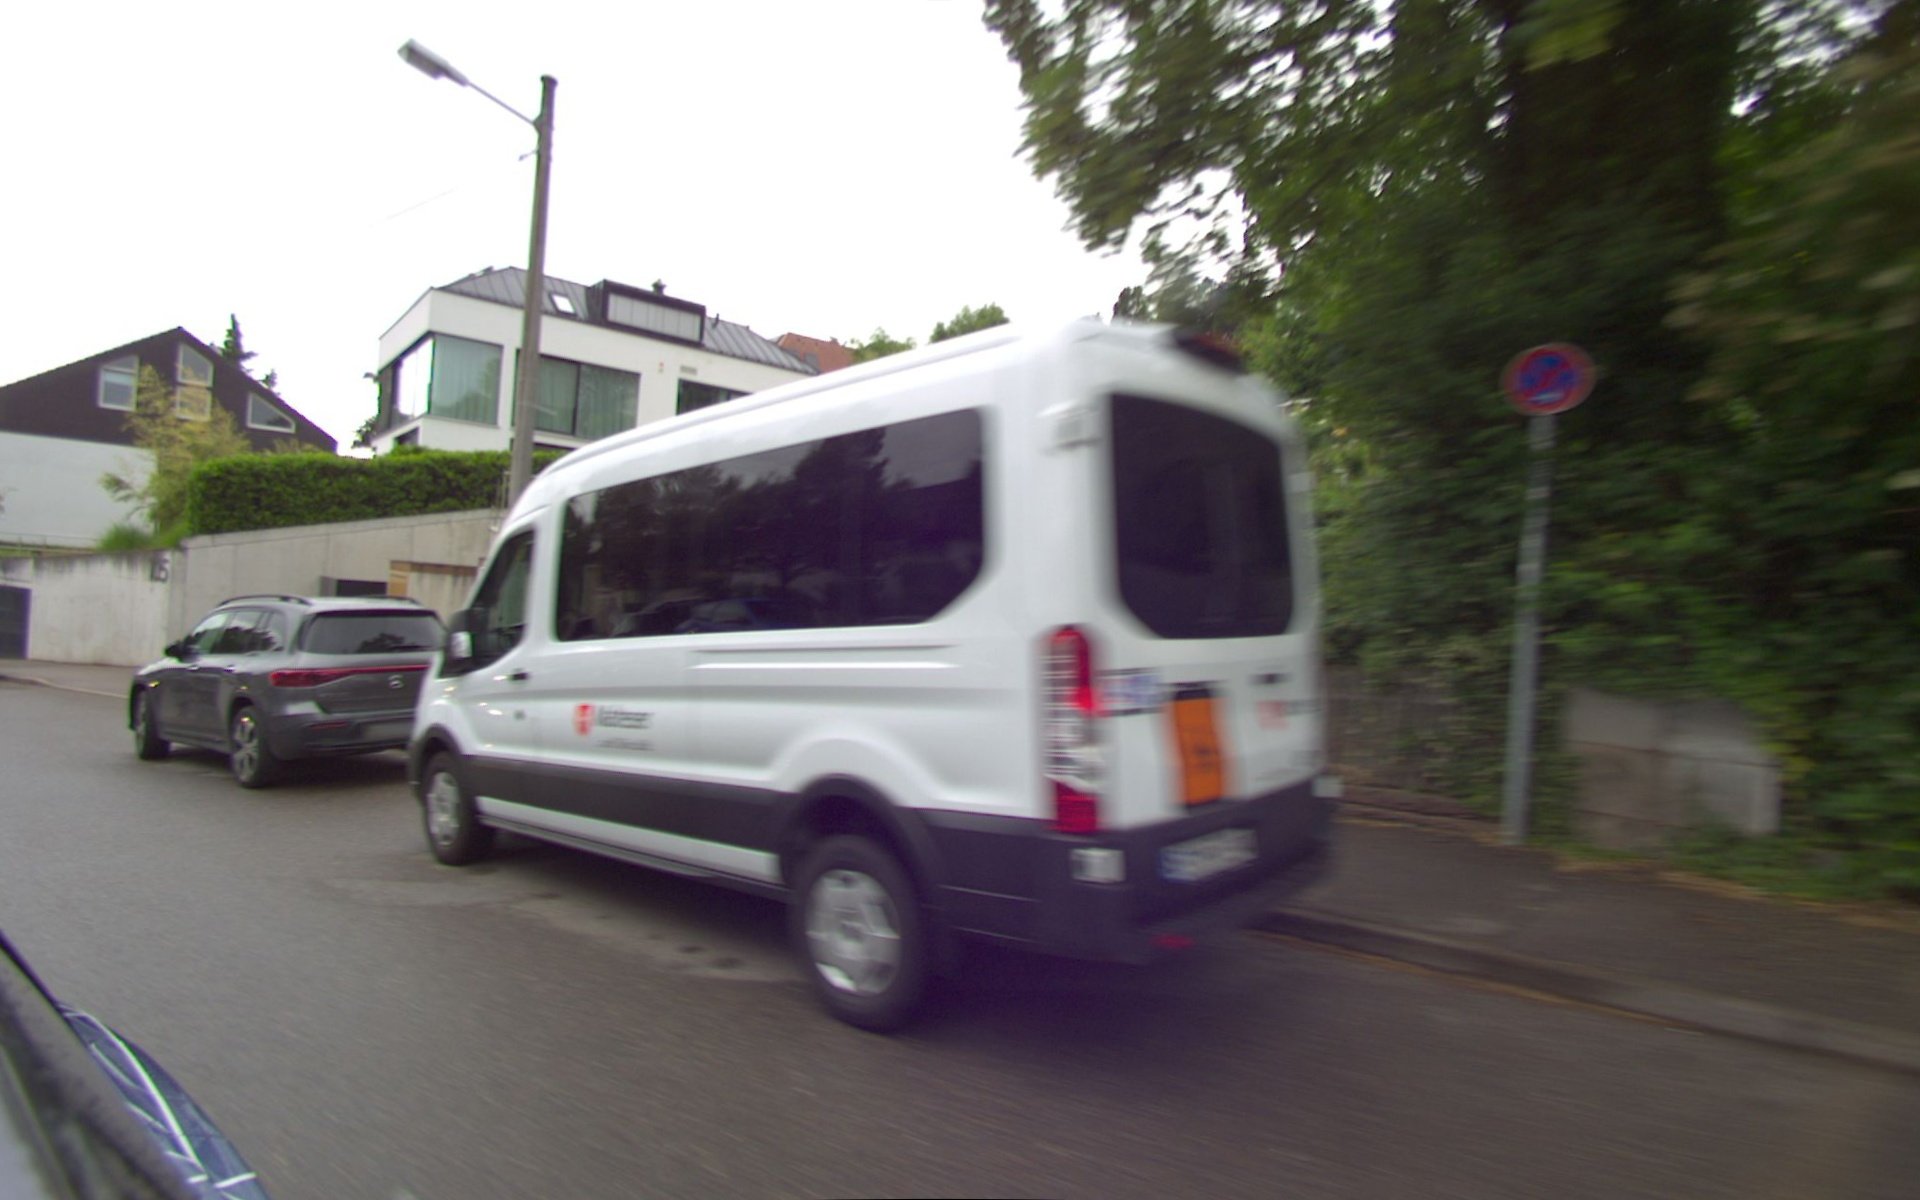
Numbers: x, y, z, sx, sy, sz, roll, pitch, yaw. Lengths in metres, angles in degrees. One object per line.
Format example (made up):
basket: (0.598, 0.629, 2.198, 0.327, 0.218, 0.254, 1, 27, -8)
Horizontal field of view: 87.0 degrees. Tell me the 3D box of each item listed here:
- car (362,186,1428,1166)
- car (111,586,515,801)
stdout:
car: (-1.009, 0.242, 5.476, 6.095, 2.569, 2.072, -1, -2, 42)
car: (-6.617, 0.768, 10.173, 4.536, 1.704, 1.879, 0, -1, 36)
